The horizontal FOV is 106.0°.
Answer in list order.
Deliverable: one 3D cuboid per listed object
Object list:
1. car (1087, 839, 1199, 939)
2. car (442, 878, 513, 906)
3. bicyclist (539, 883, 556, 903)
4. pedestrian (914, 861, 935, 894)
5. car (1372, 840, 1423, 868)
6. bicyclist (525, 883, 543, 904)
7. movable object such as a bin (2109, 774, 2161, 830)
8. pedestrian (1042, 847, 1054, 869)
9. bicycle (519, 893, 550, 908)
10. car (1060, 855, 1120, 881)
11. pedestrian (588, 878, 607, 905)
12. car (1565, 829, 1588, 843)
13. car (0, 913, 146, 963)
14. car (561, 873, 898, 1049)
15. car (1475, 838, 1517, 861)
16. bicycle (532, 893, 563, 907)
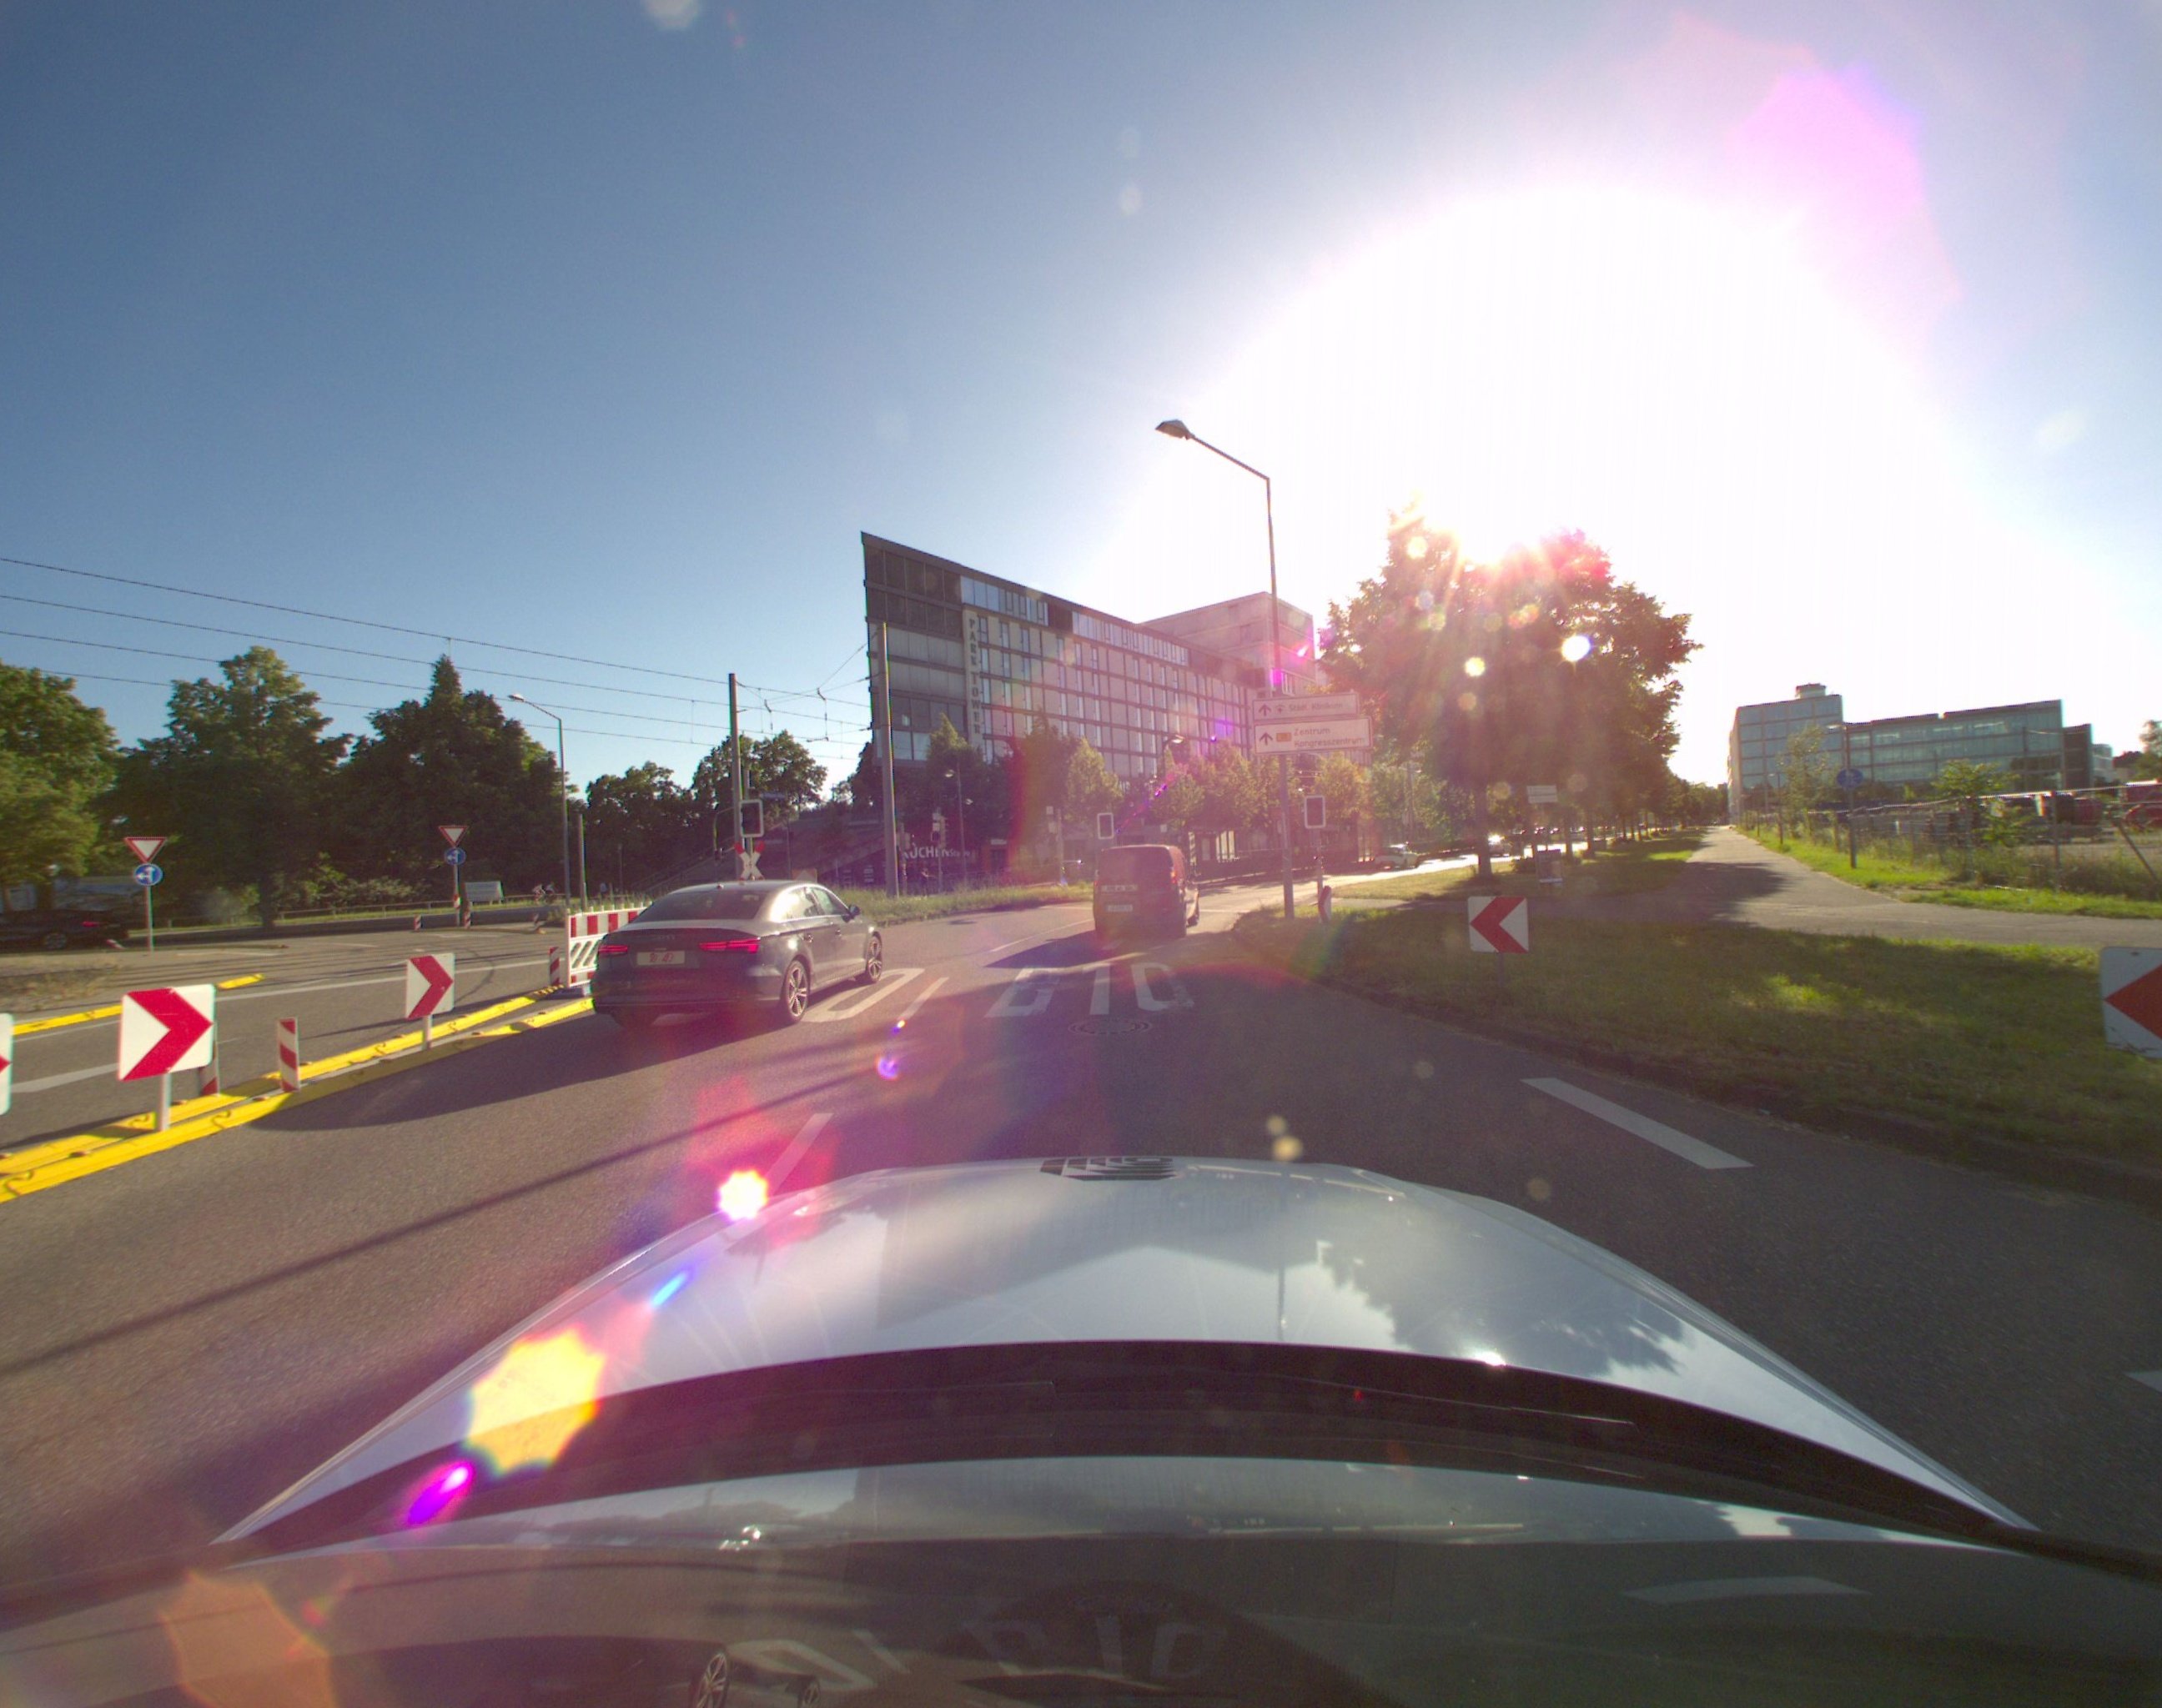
[{"bbox_3d":[1.411,0.651,16.961,1.791,1.813,3.822,-2,0,12],"label":"car"},{"bbox_3d":[-45.126,2.821,60.993,3.728,1.805,1.835,-3,0,-7],"label":"car"},{"bbox_3d":[-37.718,2.760,57.556,0.611,1.392,0.721,-3,0,11],"label":"bicyclist"},{"bbox_3d":[-7.328,1.098,38.150,0.549,1.466,0.682,-2,0,36],"label":"pedestrian"},{"bbox_3d":[19.150,-0.018,49.208,1.785,1.461,3.834,-1,2,39],"label":"car"},{"bbox_3d":[-38.735,2.791,57.669,0.611,1.392,0.840,-3,0,12],"label":"bicyclist"},{"bbox_3d":[58.306,-2.828,40.884,7.831,2.782,2.962,-2,1,41],"label":"movable object such as a bin"},{"bbox_3d":[-3.094,0.338,76.512,0.632,2.013,0.839,-3,0,40],"label":"pedestrian"},{"bbox_3d":[-38.696,3.281,57.695,0.611,0.852,1.895,-3,0,12],"label":"bicycle"},{"bbox_3d":[0.630,0.929,56.116,1.915,1.574,4.001,-3,0,41],"label":"car"},{"bbox_3d":[-30.725,2.395,51.714,0.874,1.629,0.766,-3,0,44],"label":"pedestrian"},{"bbox_3d":[65.220,-2.392,107.141,1.974,1.575,4.437,-3,0,38],"label":"car"},{"bbox_3d":[-37.737,3.074,29.715,4.484,1.487,1.728,-2,0,-16],"label":"car"},{"bbox_3d":[-3.540,0.980,9.229,1.754,1.380,4.360,-3,-1,2],"label":"car"},{"bbox_3d":[32.705,-0.387,64.125,1.974,1.575,4.437,-3,0,38],"label":"car"},{"bbox_3d":[-37.679,3.252,57.530,0.611,0.852,1.895,-3,0,12],"label":"bicycle"}]
